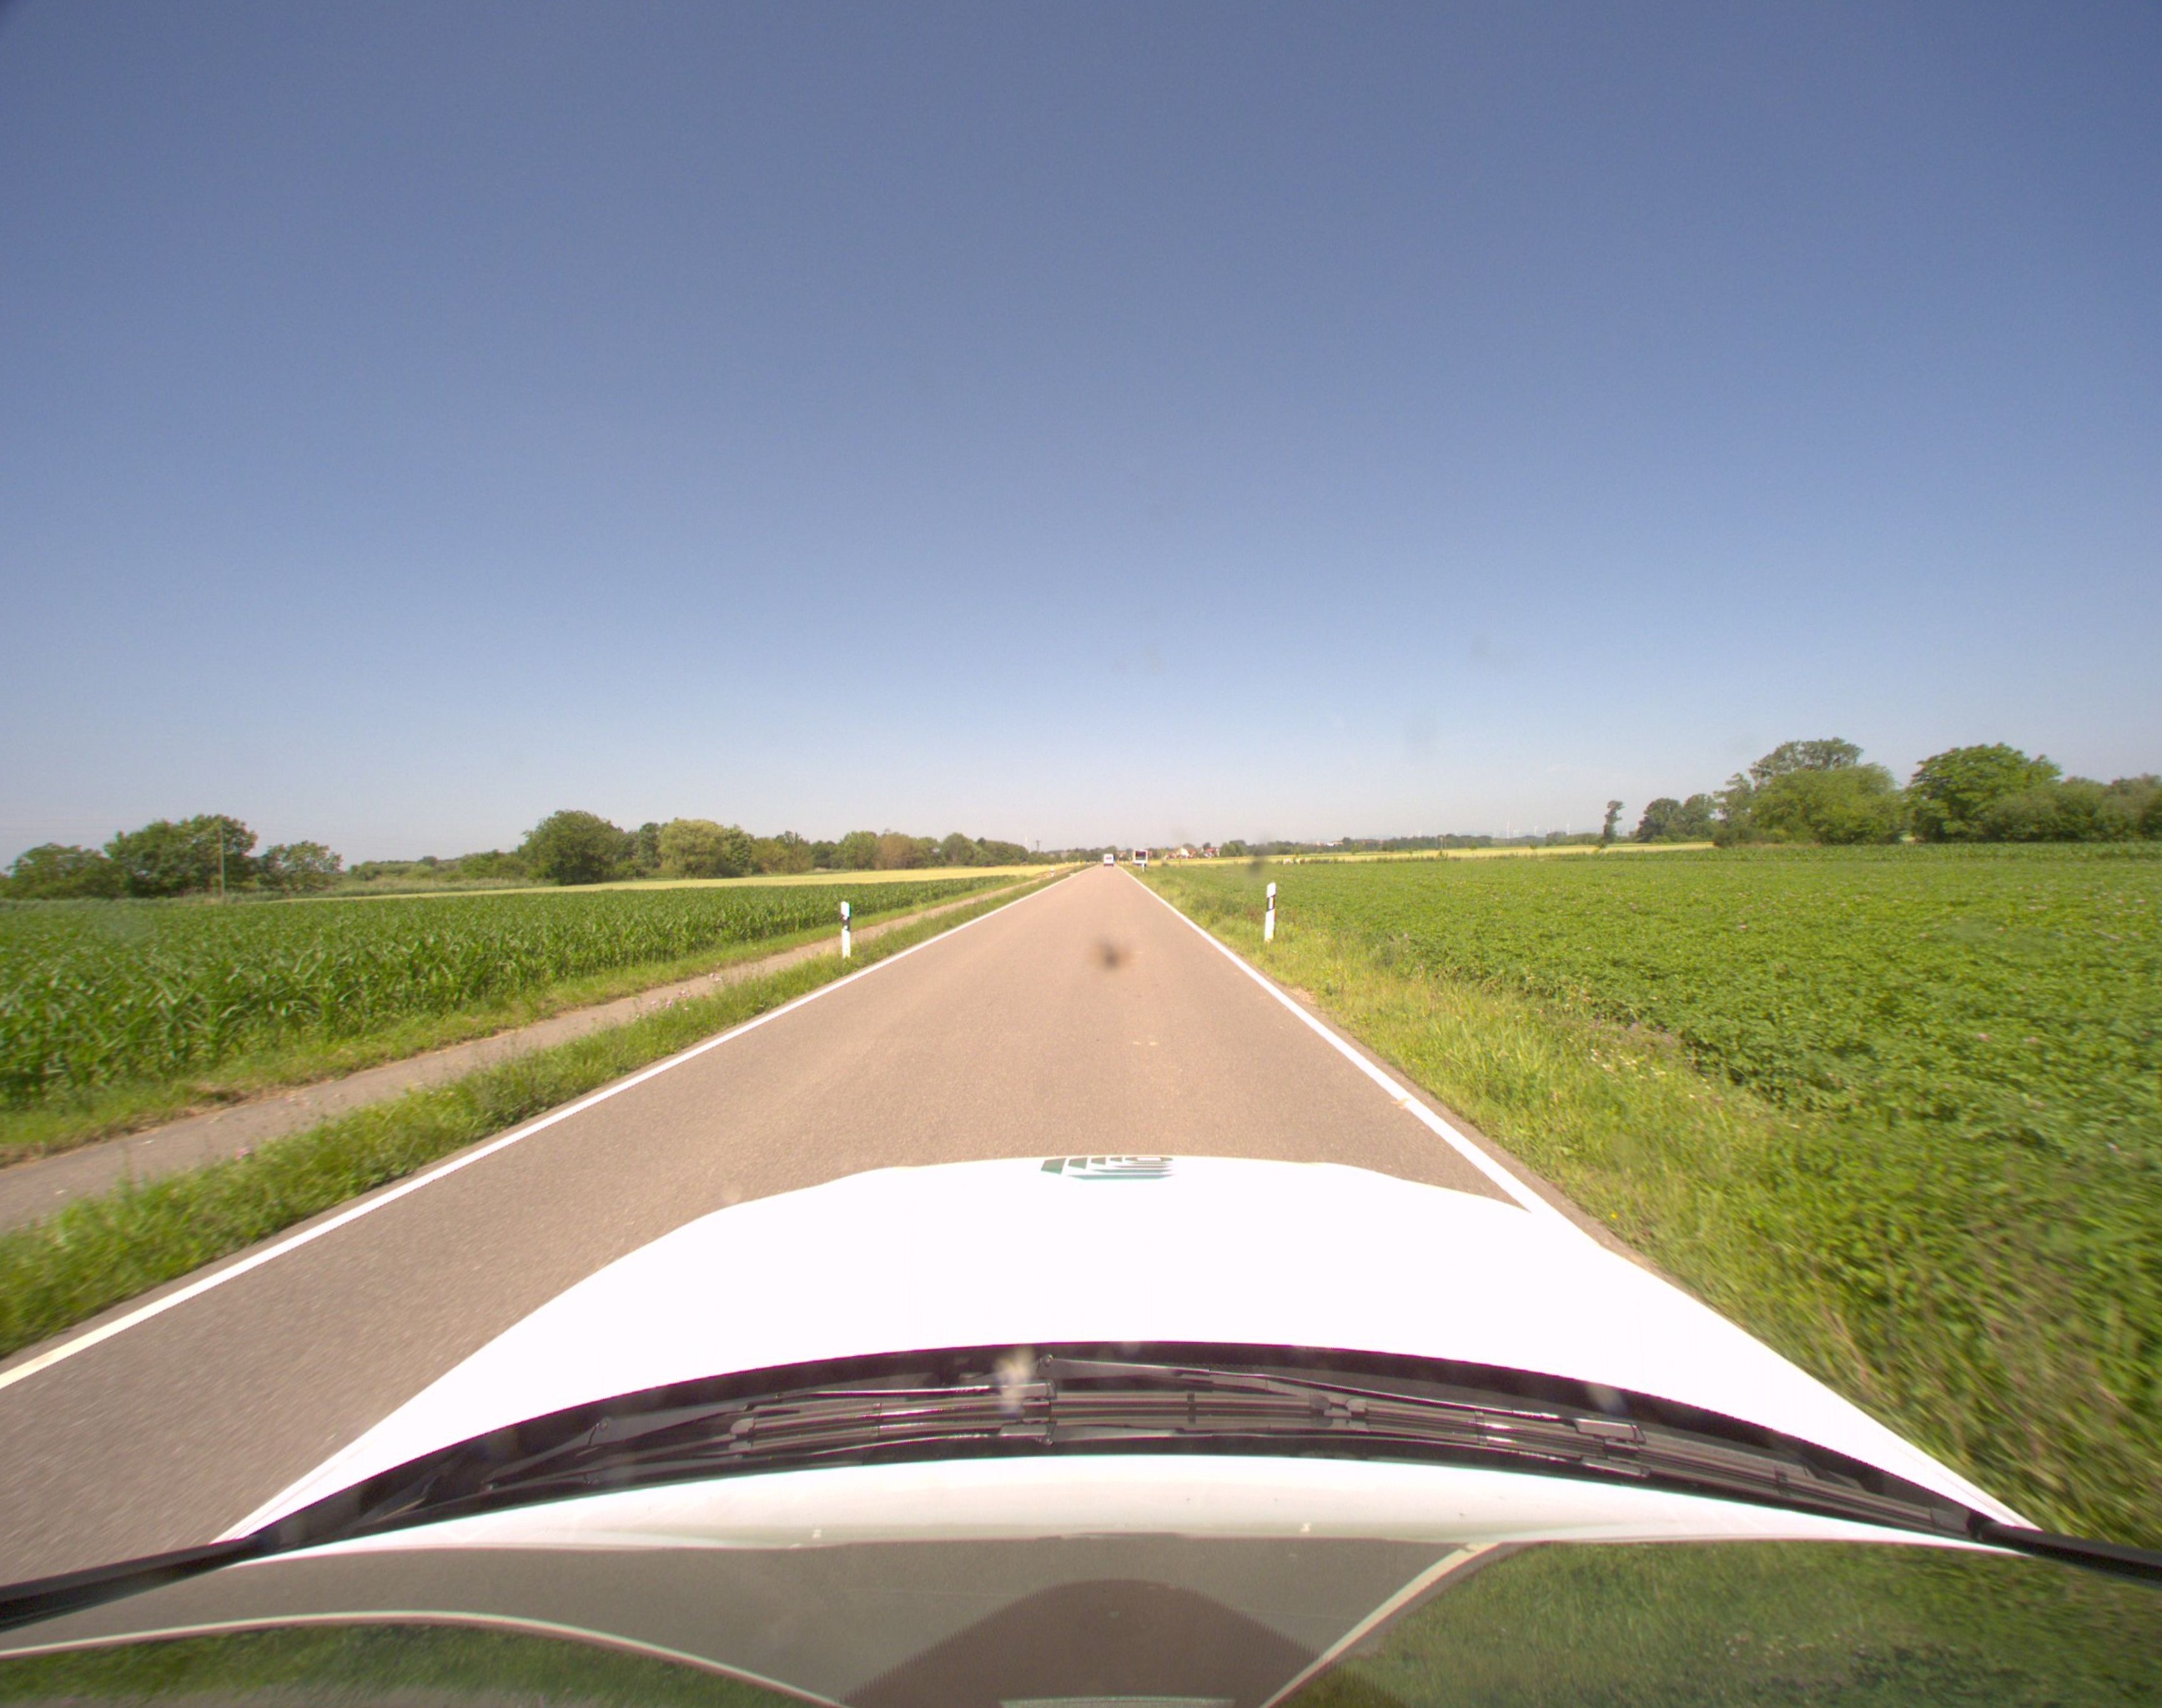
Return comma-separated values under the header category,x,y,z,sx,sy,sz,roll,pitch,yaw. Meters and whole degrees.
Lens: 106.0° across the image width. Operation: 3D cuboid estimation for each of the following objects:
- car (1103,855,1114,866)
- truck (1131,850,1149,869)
category,x,y,z,sx,sy,sz,roll,pitch,yaw
car,5.693,1.300,168.761,2.099,2.304,5.497,0,-1,2
truck,9.701,0.908,134.584,2.328,2.942,7.007,1,-1,0
